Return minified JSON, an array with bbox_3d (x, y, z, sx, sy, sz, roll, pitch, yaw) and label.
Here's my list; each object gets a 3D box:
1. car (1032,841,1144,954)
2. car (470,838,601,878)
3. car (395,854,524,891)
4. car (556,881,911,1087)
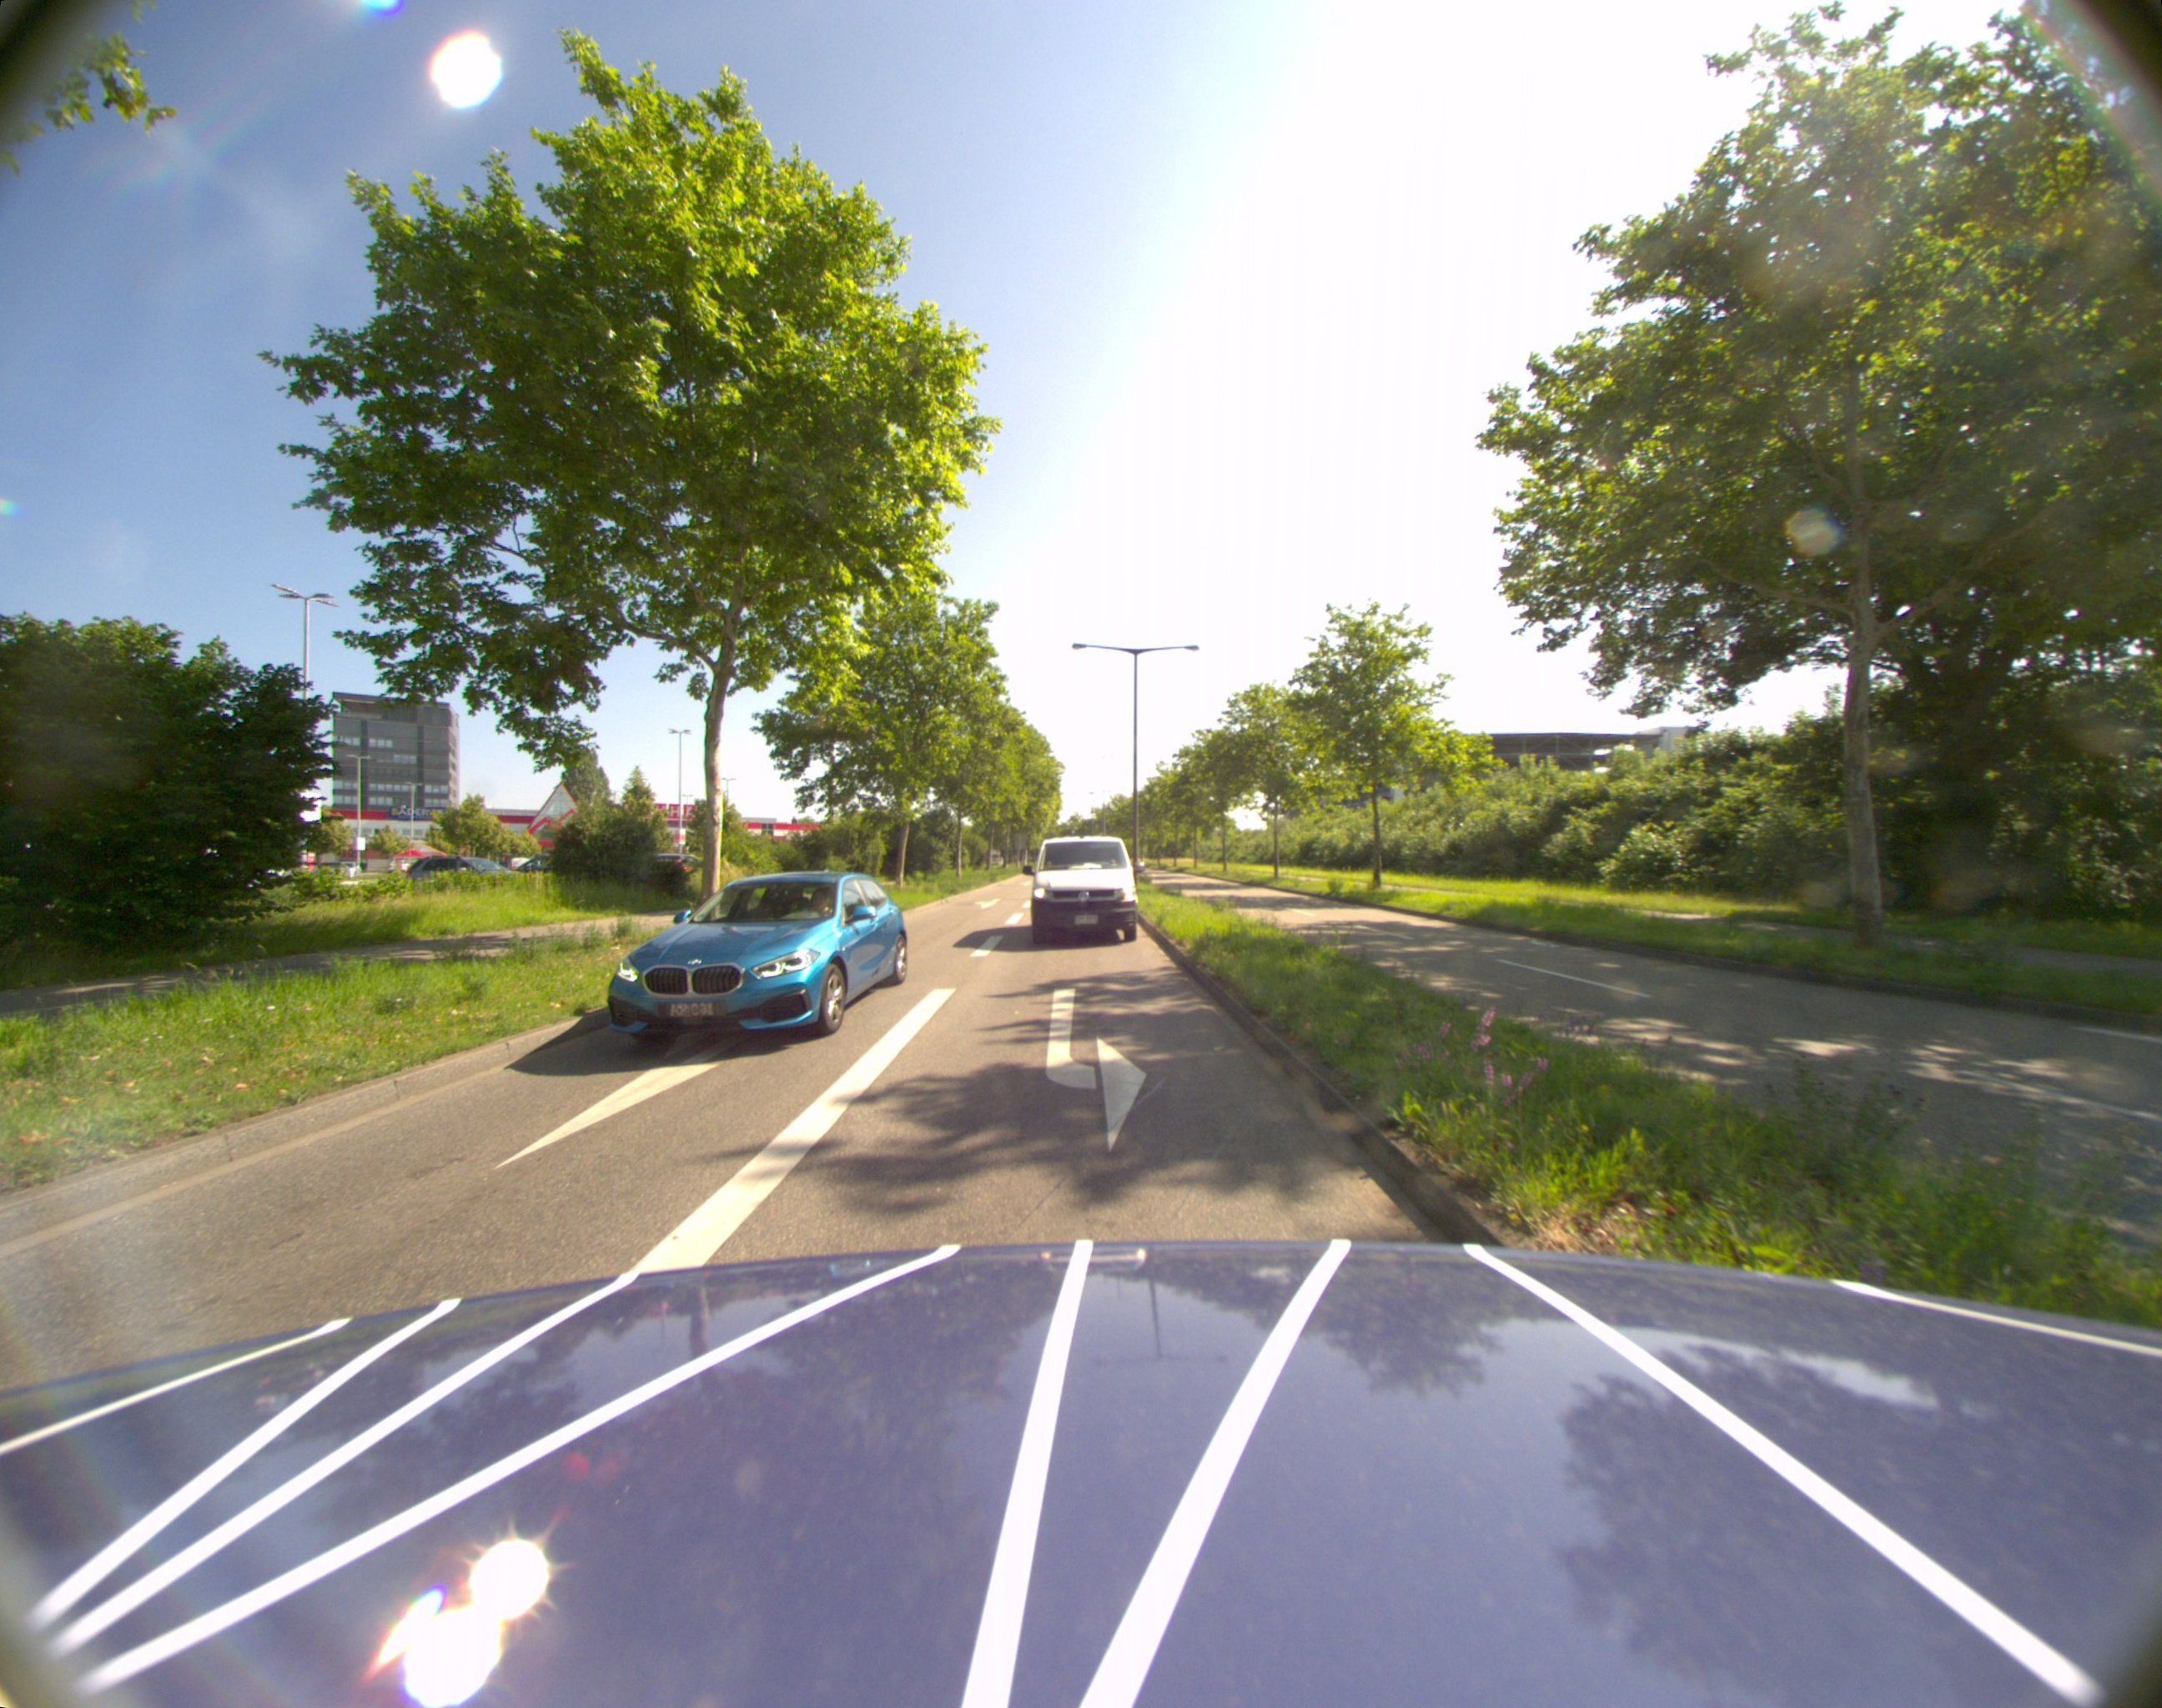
[{"bbox_3d":[0.049,0.715,15.116,1.872,1.889,4.880,0,0,-2],"label":"car"},{"bbox_3d":[-22.557,0.149,31.518,3.996,1.473,2.000,-2,1,3],"label":"car"},{"bbox_3d":[-23.122,0.663,28.343,3.527,1.240,1.613,-2,1,3],"label":"car"},{"bbox_3d":[-3.112,1.061,7.876,1.872,1.412,4.129,0,0,-2],"label":"car"}]
